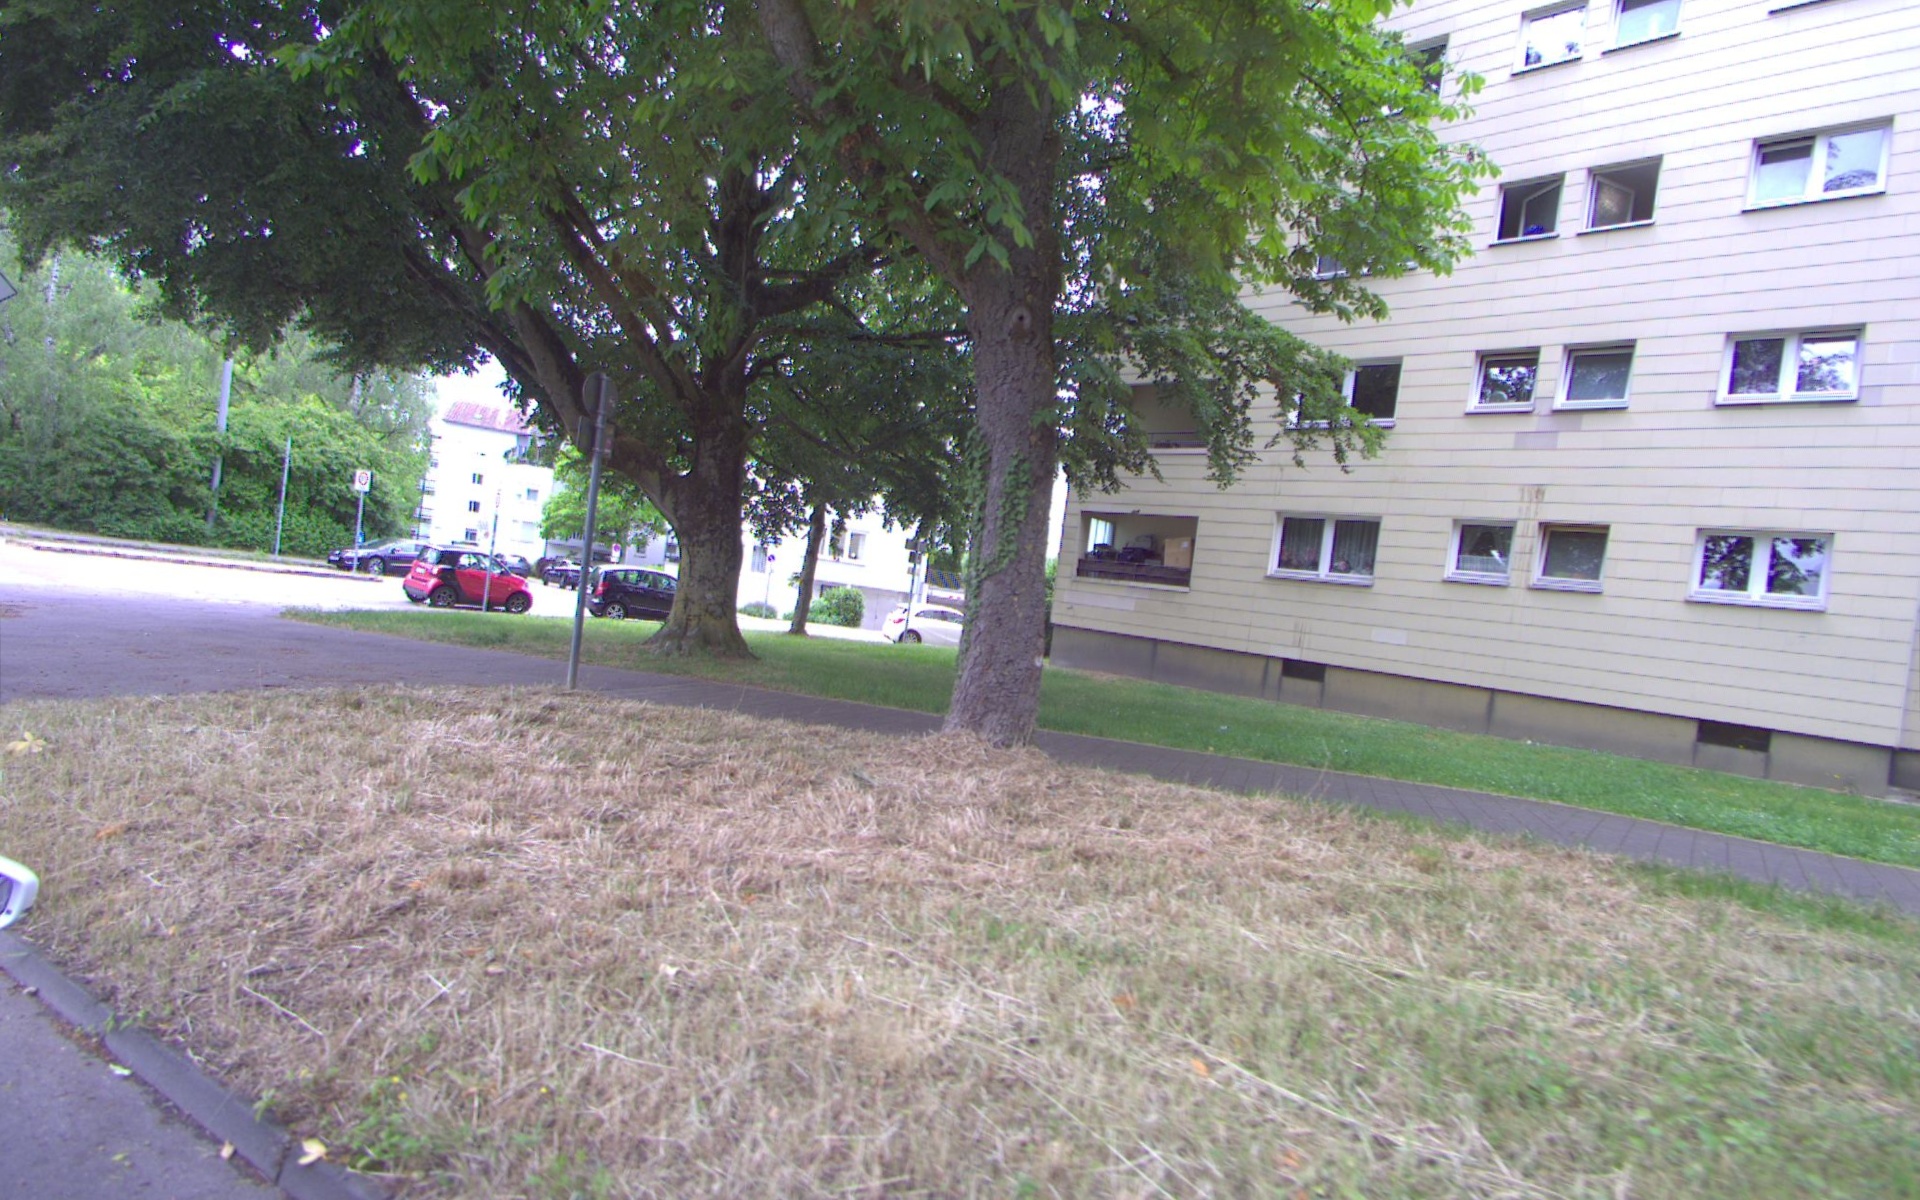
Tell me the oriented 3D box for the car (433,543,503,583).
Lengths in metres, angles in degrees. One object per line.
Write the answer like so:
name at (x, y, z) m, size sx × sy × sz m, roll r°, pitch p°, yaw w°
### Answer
car at (-22.538, -1.715, 46.028) m, size 1.796 × 1.505 × 3.626 m, roll 7°, pitch -1°, yaw -43°

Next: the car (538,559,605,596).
car at (-20.659, -1.208, 53.419) m, size 1.922 × 1.563 × 4.017 m, roll 7°, pitch -1°, yaw -41°

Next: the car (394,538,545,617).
car at (-12.461, -0.543, 25.661) m, size 1.670 × 1.524 × 2.913 m, roll 8°, pitch 0°, yaw 36°

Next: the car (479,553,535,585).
car at (-27.649, -1.926, 61.299) m, size 1.922 × 1.563 × 4.017 m, roll 7°, pitch -1°, yaw -41°

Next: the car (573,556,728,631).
car at (-8.861, -0.170, 28.878) m, size 3.789 × 1.610 × 1.803 m, roll 8°, pitch -1°, yaw -33°

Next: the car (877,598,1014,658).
car at (-0.493, 0.886, 32.227) m, size 4.007 × 1.452 × 1.789 m, roll 6°, pitch 1°, yaw -14°

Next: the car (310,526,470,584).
car at (-20.945, -1.621, 37.207) m, size 2.003 × 1.456 × 4.797 m, roll 7°, pitch -1°, yaw 26°
